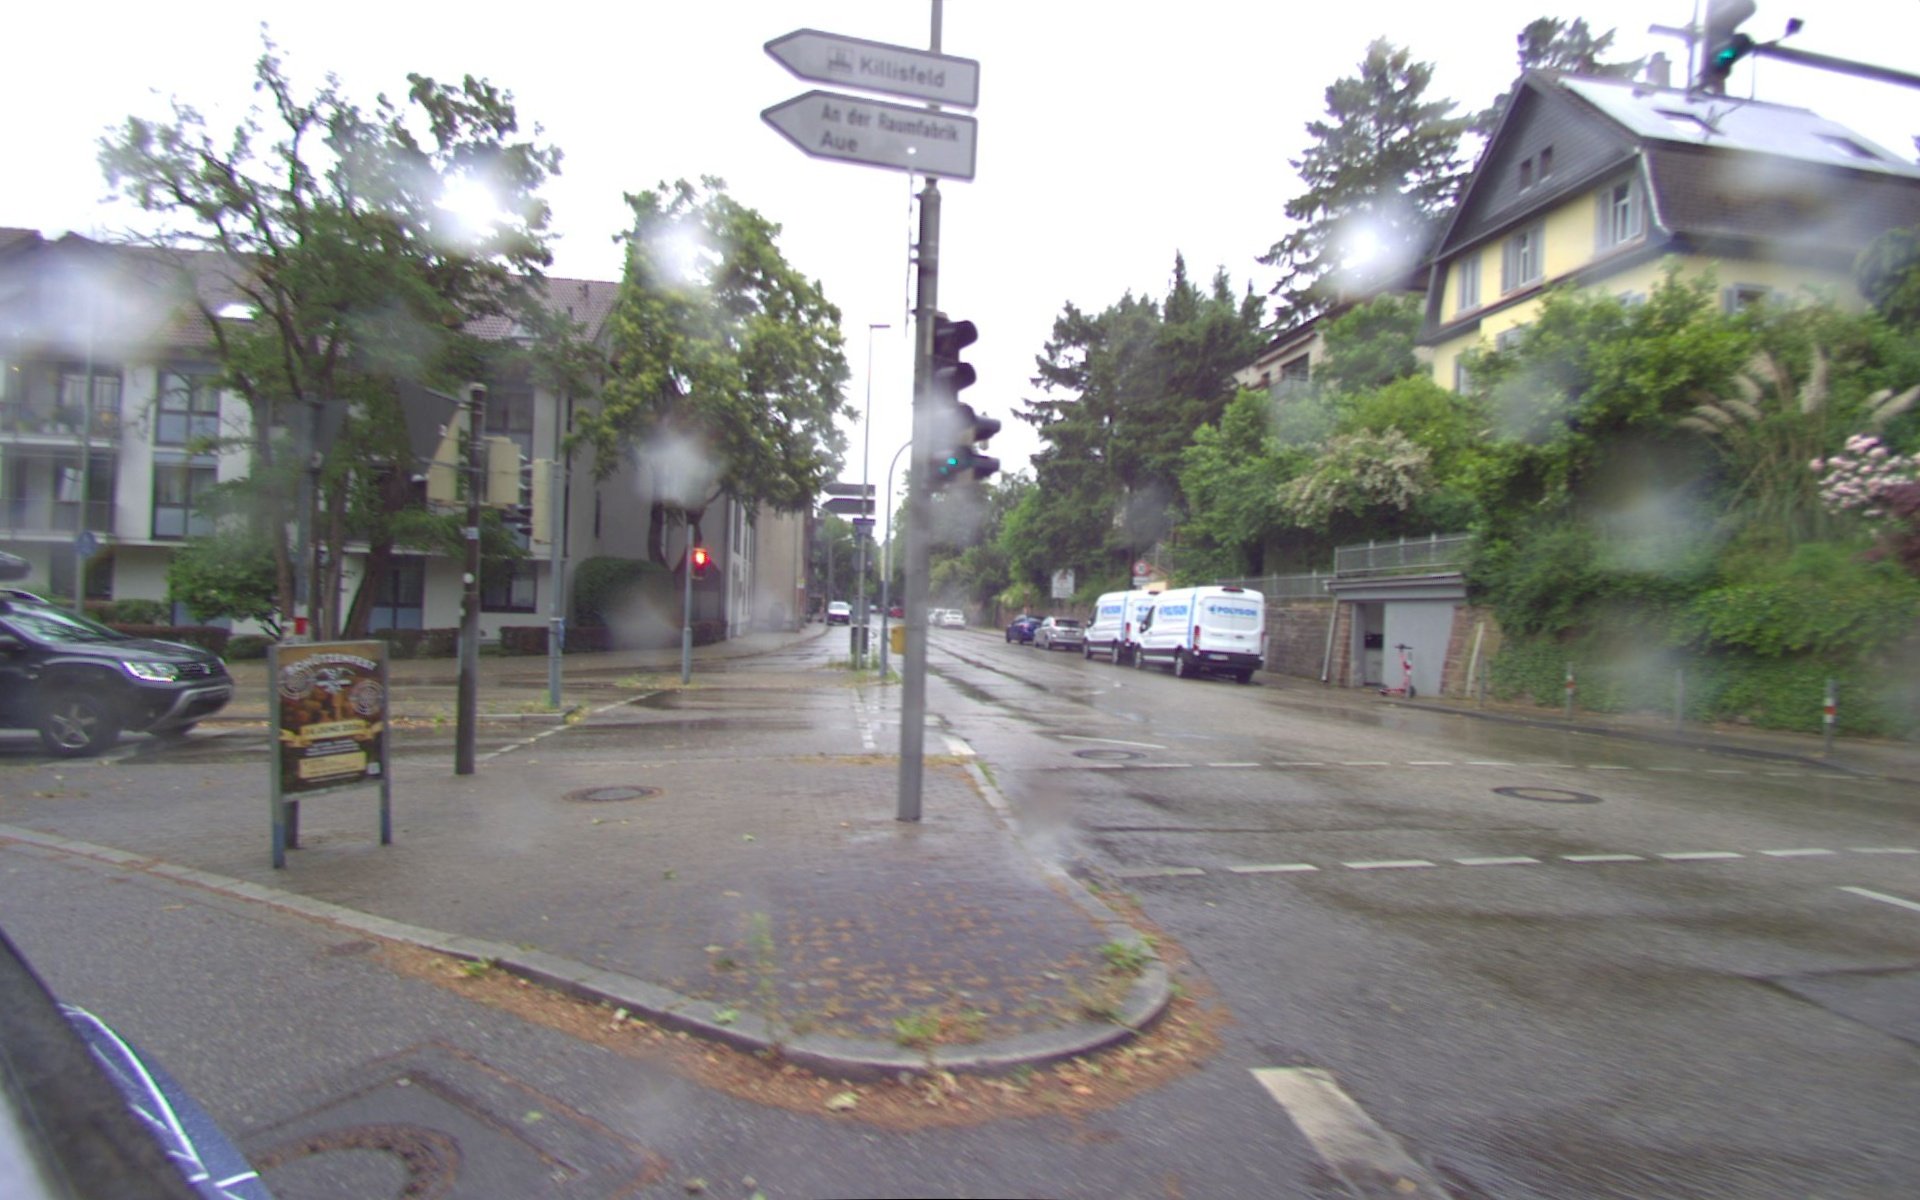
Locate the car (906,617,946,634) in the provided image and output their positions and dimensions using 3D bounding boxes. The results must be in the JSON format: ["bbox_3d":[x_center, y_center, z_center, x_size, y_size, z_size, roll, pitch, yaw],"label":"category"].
[{"bbox_3d":[-3.351,2.538,100.147,3.828,1.453,1.816,2,-2,0],"label":"car"}]

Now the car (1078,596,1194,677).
[{"bbox_3d":[5.994,1.180,35.313,2.279,2.513,5.591,2,0,-8],"label":"car"}]

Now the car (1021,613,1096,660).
[{"bbox_3d":[4.410,1.621,46.405,2.077,1.867,5.591,2,0,-8],"label":"car"}]

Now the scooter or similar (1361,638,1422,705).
[{"bbox_3d":[9.023,1.488,21.161,1.092,1.345,0.456,0,-3,39],"label":"scooter or similar"}]

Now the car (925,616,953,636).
[{"bbox_3d":[-1.891,2.309,89.782,1.897,1.667,4.006,2,-2,-8],"label":"car"}]

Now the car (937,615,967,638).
[{"bbox_3d":[-0.677,2.082,79.237,1.790,1.658,4.006,2,-2,-8],"label":"car"}]

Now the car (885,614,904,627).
[{"bbox_3d":[-8.822,2.808,136.238,1.896,1.664,3.989,2,-2,-11],"label":"car"}]

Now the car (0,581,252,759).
[{"bbox_3d":[-10.292,0.667,10.487,4.525,1.724,1.770,0,0,-11],"label":"car"}]

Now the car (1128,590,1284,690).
[{"bbox_3d":[6.838,1.048,28.982,2.279,2.513,5.689,2,0,-8],"label":"car"}]

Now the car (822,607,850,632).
[{"bbox_3d":[-10.423,1.633,84.589,2.050,1.973,4.457,2,-2,-10],"label":"car"}]

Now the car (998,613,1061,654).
[{"bbox_3d":[3.552,1.698,52.962,2.077,1.867,5.591,2,0,-8],"label":"car"}]
